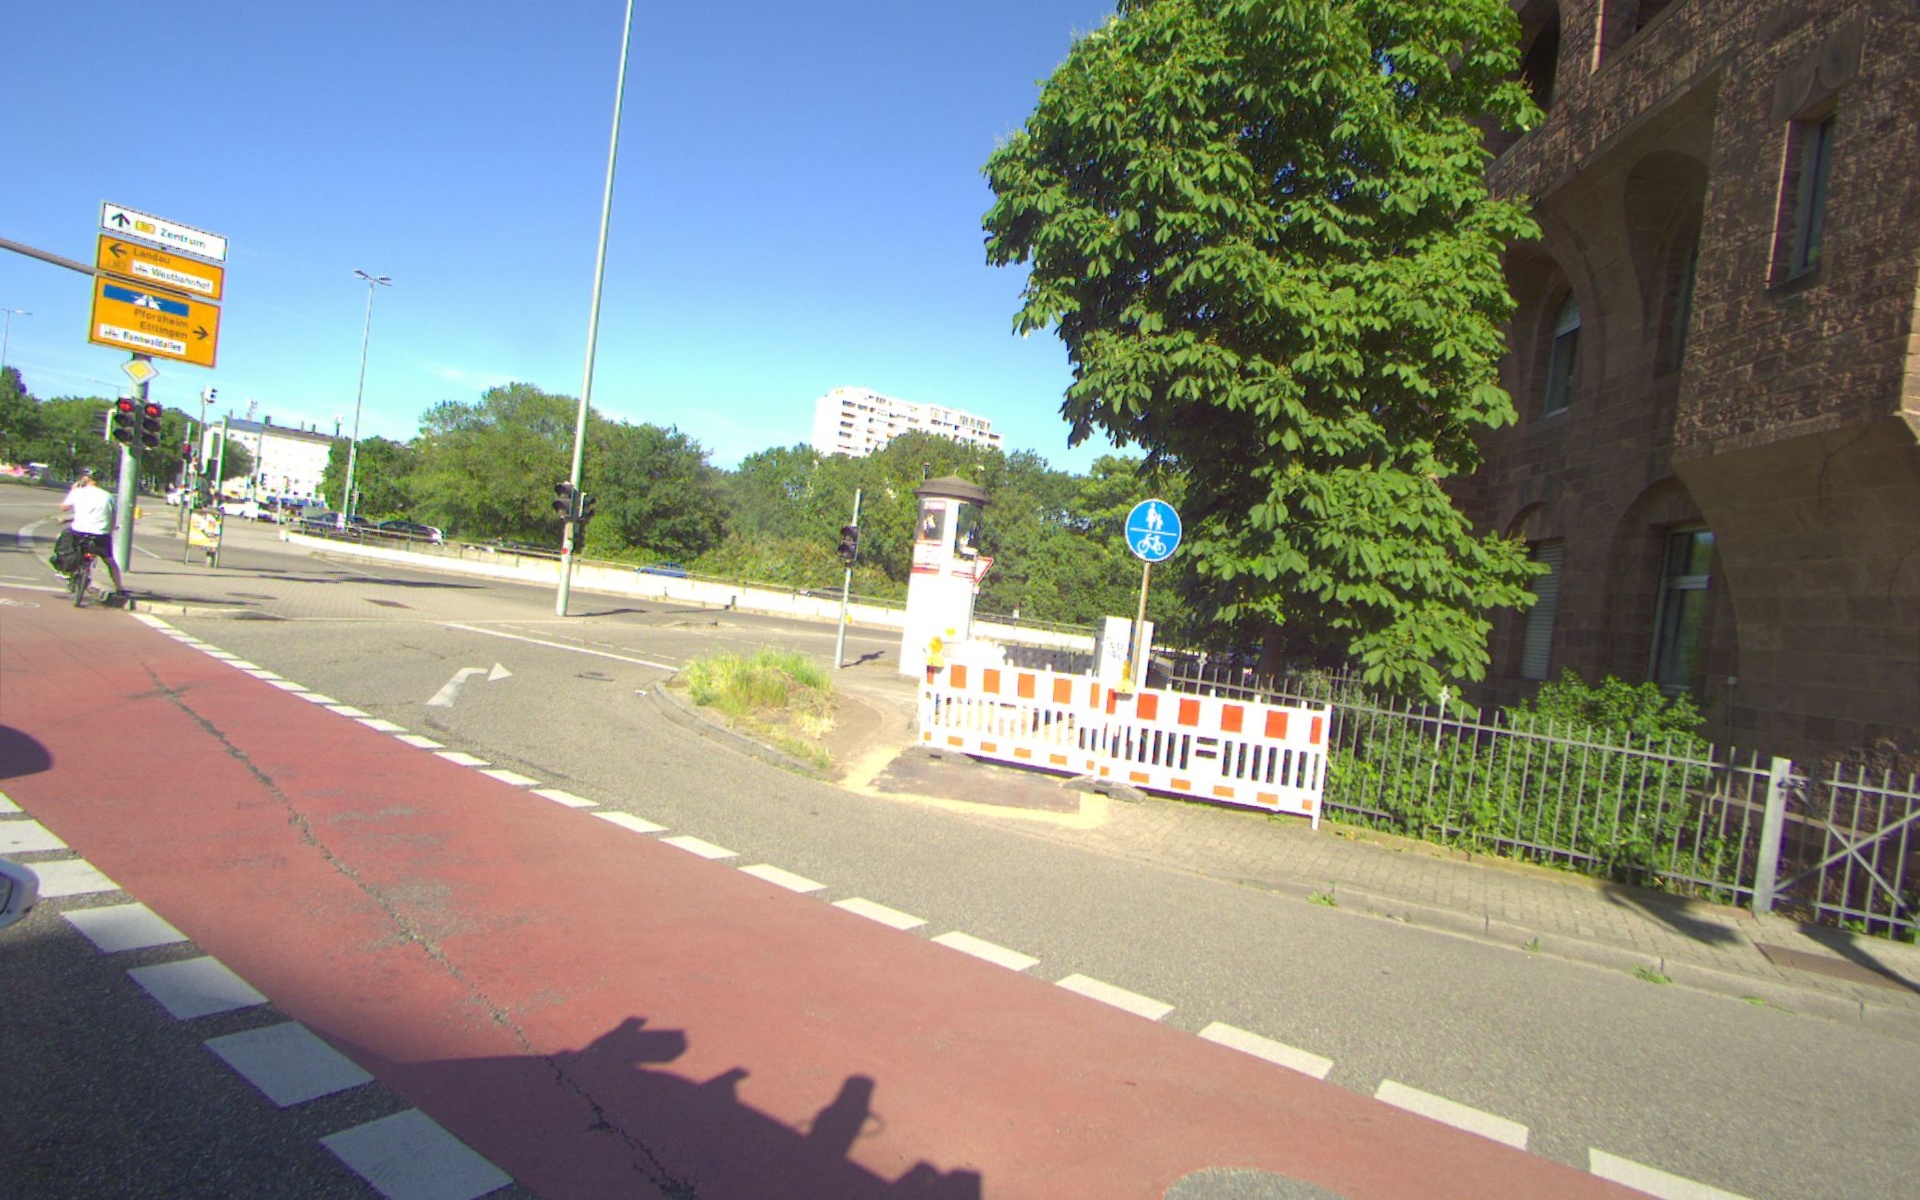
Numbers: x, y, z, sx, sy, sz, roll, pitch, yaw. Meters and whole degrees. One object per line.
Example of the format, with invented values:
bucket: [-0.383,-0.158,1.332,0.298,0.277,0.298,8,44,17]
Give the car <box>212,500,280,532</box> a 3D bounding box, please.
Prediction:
car: [-51.586,-6.058,72.713,3.925,1.770,2.001,5,-2,20]

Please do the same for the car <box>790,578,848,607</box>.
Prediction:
car: [-10.765,-0.541,76.900,3.946,1.638,1.719,8,1,-22]

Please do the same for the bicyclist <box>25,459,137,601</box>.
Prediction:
bicyclist: [-11.785,-0.929,13.525,0.794,1.726,1.076,8,1,-31]

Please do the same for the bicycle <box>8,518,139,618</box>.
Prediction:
bicycle: [-11.854,-0.474,13.541,0.794,1.124,2.381,8,0,-31]

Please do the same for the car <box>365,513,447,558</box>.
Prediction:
car: [-33.562,-3.887,61.086,3.943,2.037,1.992,7,-2,-20]

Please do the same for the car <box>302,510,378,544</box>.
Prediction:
car: [-42.943,-5.053,69.644,4.798,1.876,2.019,5,-2,24]

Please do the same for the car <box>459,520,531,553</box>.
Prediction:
car: [-31.839,-4.336,69.037,3.932,1.681,1.998,6,-2,-10]

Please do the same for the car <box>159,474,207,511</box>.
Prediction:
car: [-71.202,-9.846,92.297,2.233,2.638,4.860,7,-2,-25]

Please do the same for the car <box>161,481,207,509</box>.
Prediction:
car: [-60.555,-8.168,78.480,3.945,1.770,1.991,4,-2,41]

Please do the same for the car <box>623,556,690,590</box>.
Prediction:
car: [-21.750,-1.899,72.079,4.205,1.876,2.009,7,-2,-24]

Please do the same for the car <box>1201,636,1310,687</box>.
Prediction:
car: [12.654,2.647,43.083,4.298,1.512,1.744,9,0,-26]
